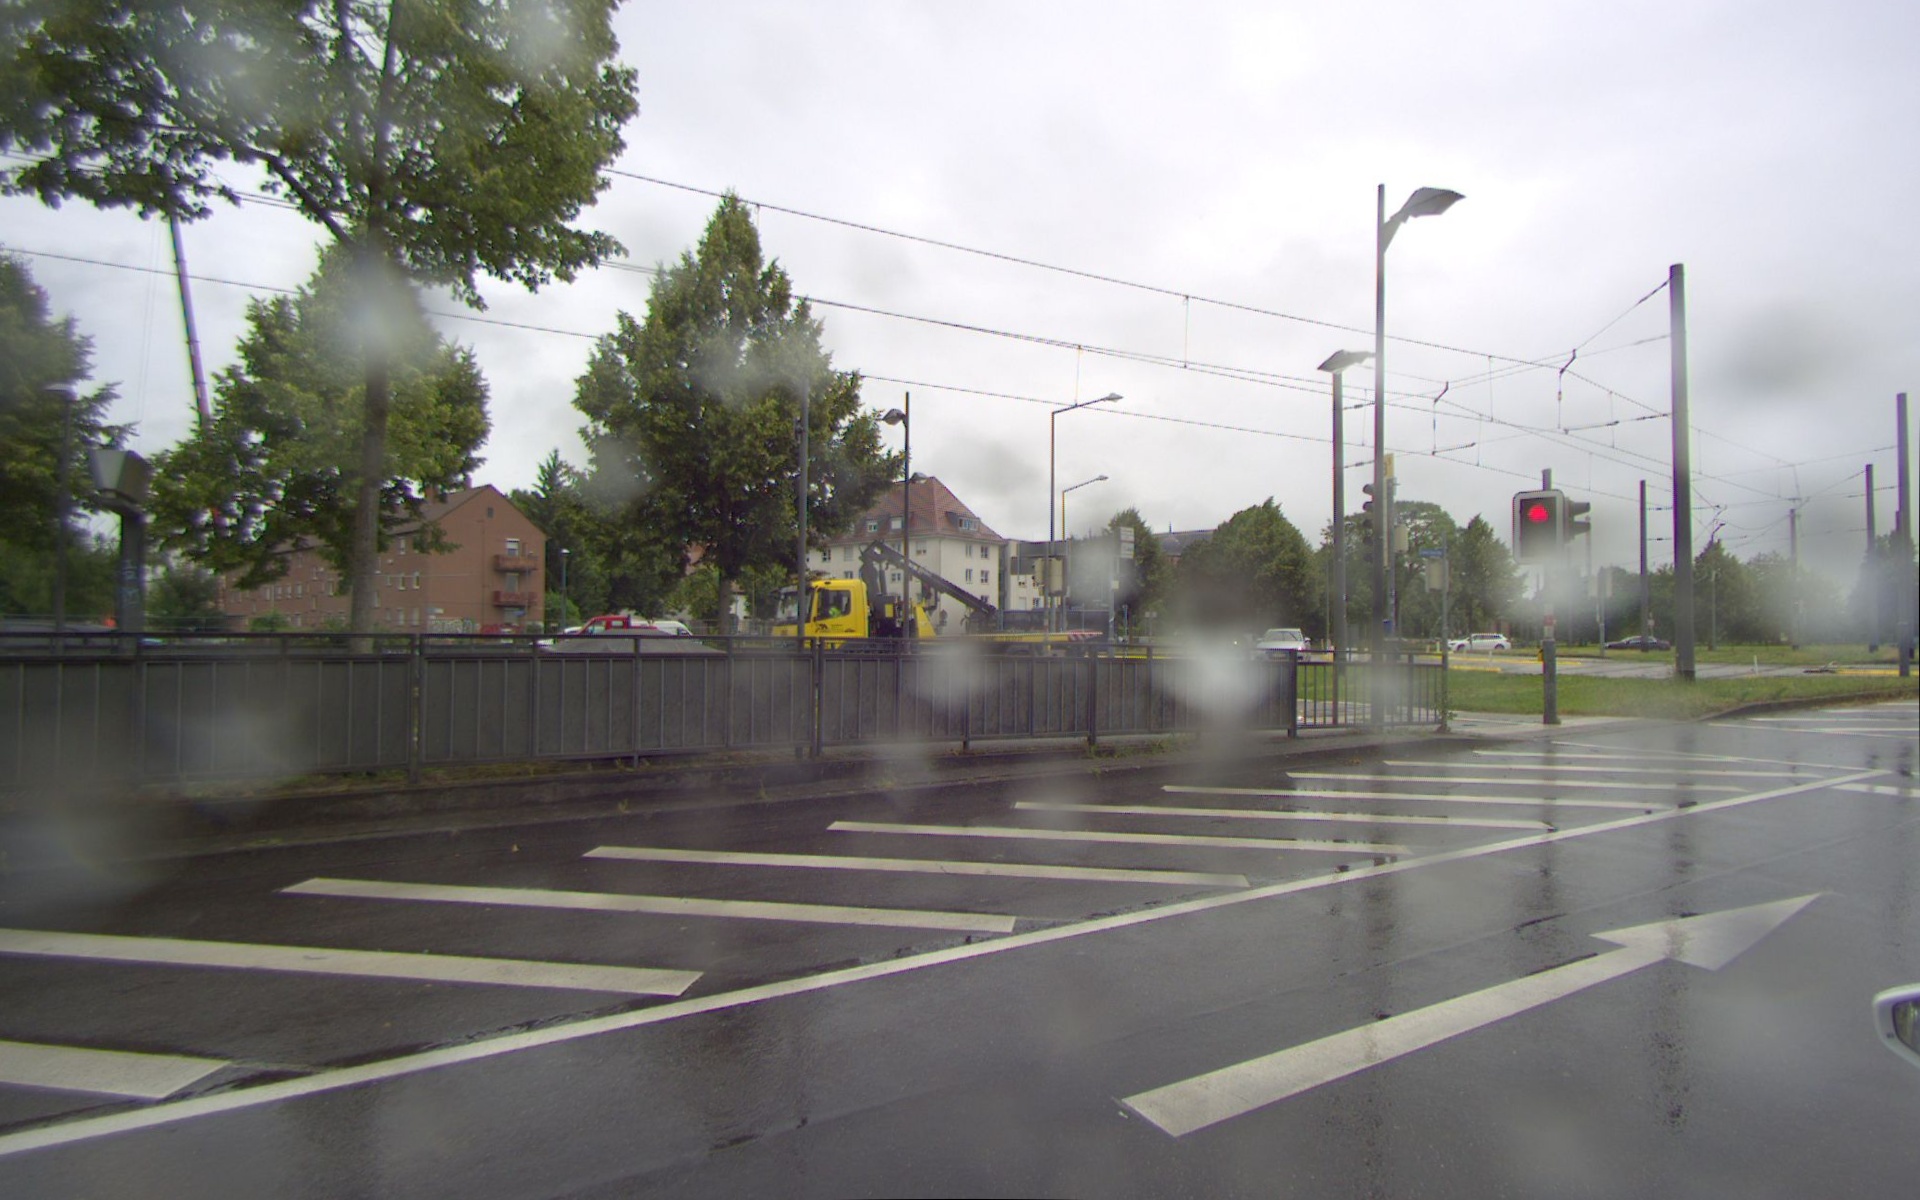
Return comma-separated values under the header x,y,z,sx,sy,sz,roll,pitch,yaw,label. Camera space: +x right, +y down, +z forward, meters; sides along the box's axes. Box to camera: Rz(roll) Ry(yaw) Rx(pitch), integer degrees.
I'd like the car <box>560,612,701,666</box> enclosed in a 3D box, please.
x,y,z,sx,sy,sz,roll,pitch,yaw,label
-15.921,1.887,48.751,6.389,2.503,1.616,1,-1,-20,car

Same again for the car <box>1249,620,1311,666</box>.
x,y,z,sx,sy,sz,roll,pitch,yaw,label
12.248,1.593,38.244,1.961,1.649,4.403,-1,-2,22,car

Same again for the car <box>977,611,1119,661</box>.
x,y,z,sx,sy,sz,roll,pitch,yaw,label
6.830,2.771,78.230,10.746,3.770,2.458,-1,-2,20,car

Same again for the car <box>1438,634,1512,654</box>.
x,y,z,sx,sy,sz,roll,pitch,yaw,label
37.608,3.212,73.464,4.530,1.473,1.624,0,-1,3,car

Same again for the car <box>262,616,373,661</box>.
x,y,z,sx,sy,sz,roll,pitch,yaw,label
-38.311,2.298,59.924,5.441,2.485,1.980,2,0,-36,car

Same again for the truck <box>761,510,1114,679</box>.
x,y,z,sx,sy,sz,roll,pitch,yaw,label
-0.379,-0.008,26.336,9.079,3.828,2.673,2,0,-32,truck

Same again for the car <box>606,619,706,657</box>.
x,y,z,sx,sy,sz,roll,pitch,yaw,label
-19.284,2.398,63.857,6.004,2.308,1.617,0,-2,-19,car

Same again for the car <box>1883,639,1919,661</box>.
x,y,z,sx,sy,sz,roll,pitch,yaw,label
66.131,3.460,68.974,1.611,1.473,3.940,1,-2,-41,car
